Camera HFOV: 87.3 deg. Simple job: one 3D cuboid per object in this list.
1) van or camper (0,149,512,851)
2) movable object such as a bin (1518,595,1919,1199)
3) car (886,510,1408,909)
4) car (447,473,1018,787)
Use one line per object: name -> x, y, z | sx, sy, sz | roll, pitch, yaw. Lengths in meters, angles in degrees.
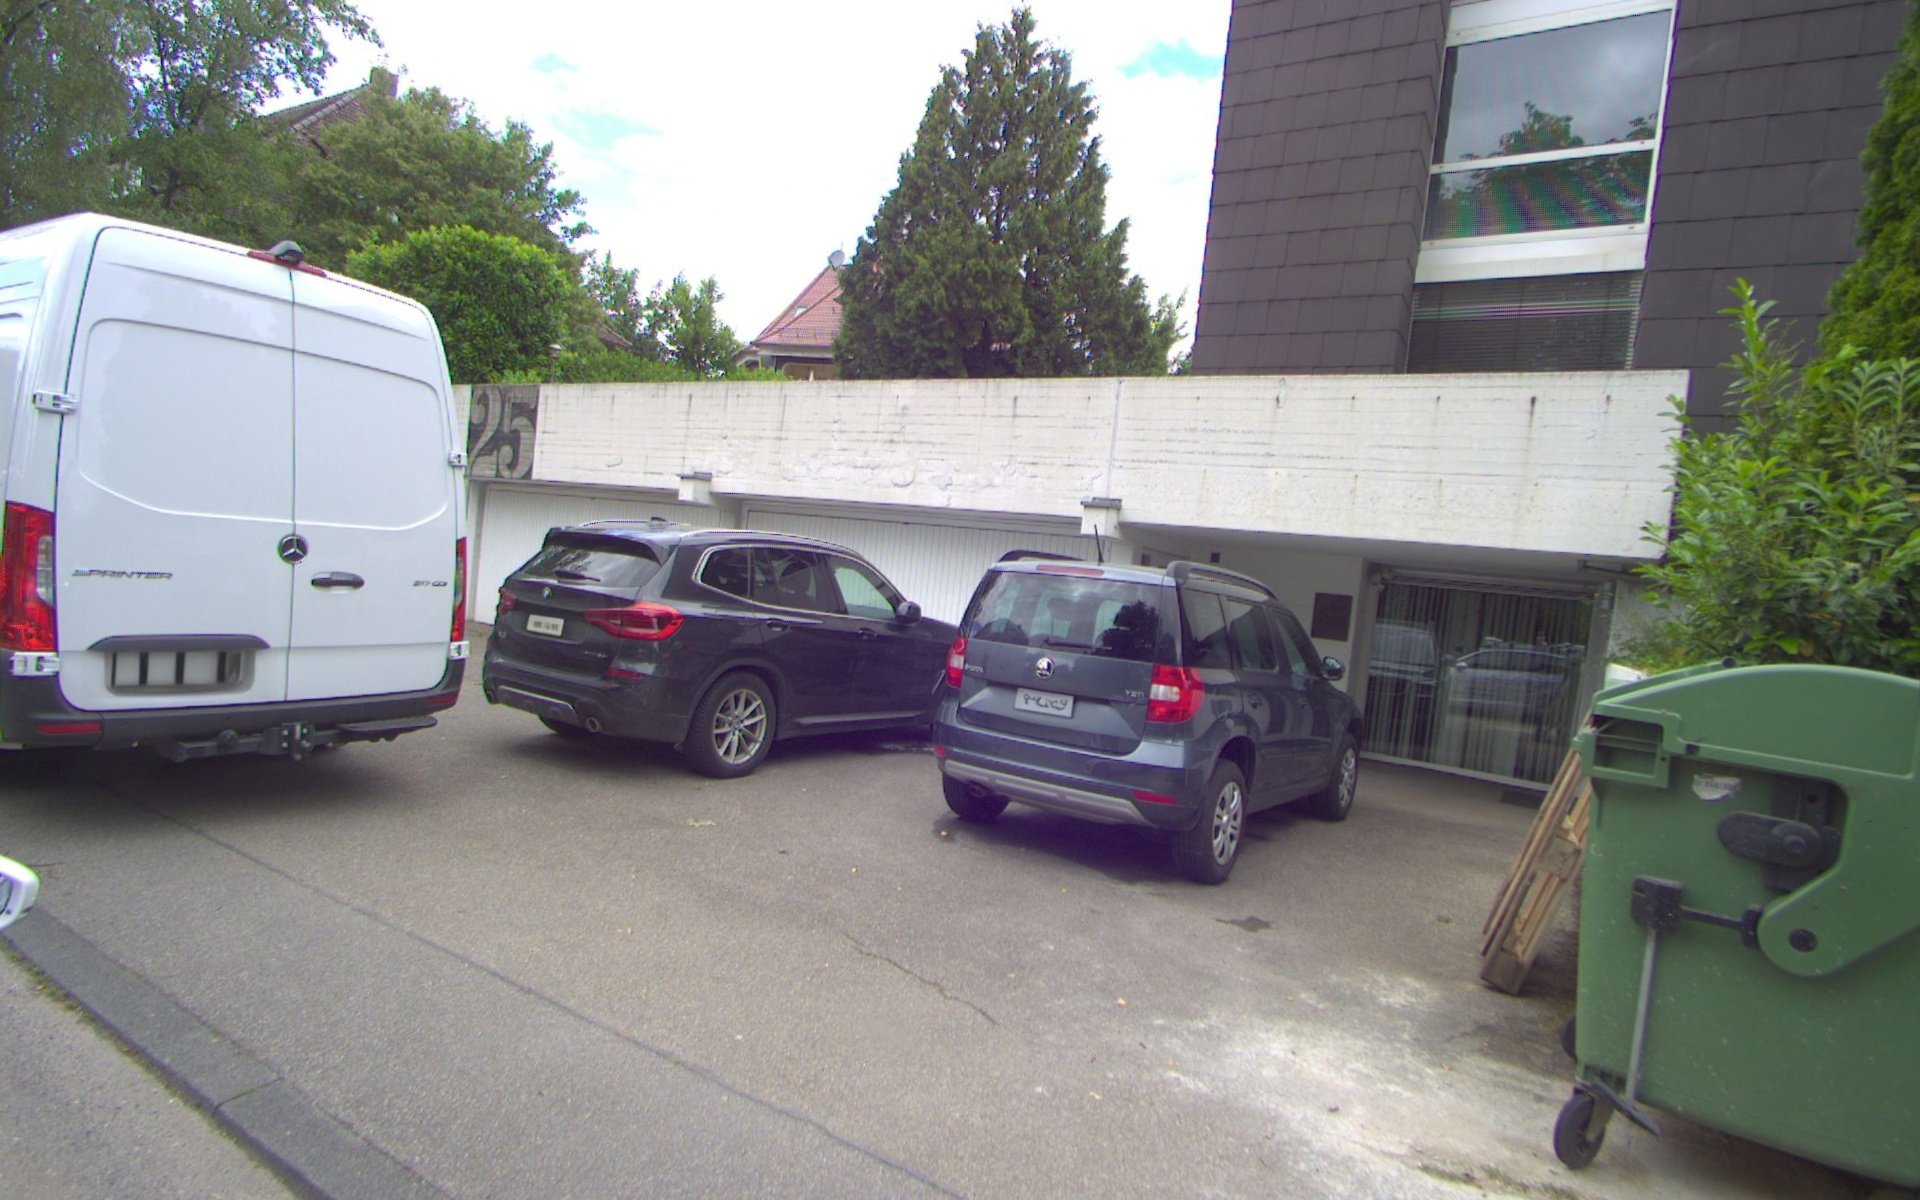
van or camper -> -5.792, -0.611, 6.324 | 6.433, 2.653, 1.995 | 7, 1, 32
movable object such as a bin -> 2.268, 0.837, 2.812 | 1.016, 1.550, 1.034 | 7, 1, 33
car -> 1.533, 0.582, 6.757 | 1.804, 1.772, 3.973 | 7, 1, 35
car -> -1.447, 0.248, 8.100 | 1.710, 1.772, 4.419 | 7, 0, 33
